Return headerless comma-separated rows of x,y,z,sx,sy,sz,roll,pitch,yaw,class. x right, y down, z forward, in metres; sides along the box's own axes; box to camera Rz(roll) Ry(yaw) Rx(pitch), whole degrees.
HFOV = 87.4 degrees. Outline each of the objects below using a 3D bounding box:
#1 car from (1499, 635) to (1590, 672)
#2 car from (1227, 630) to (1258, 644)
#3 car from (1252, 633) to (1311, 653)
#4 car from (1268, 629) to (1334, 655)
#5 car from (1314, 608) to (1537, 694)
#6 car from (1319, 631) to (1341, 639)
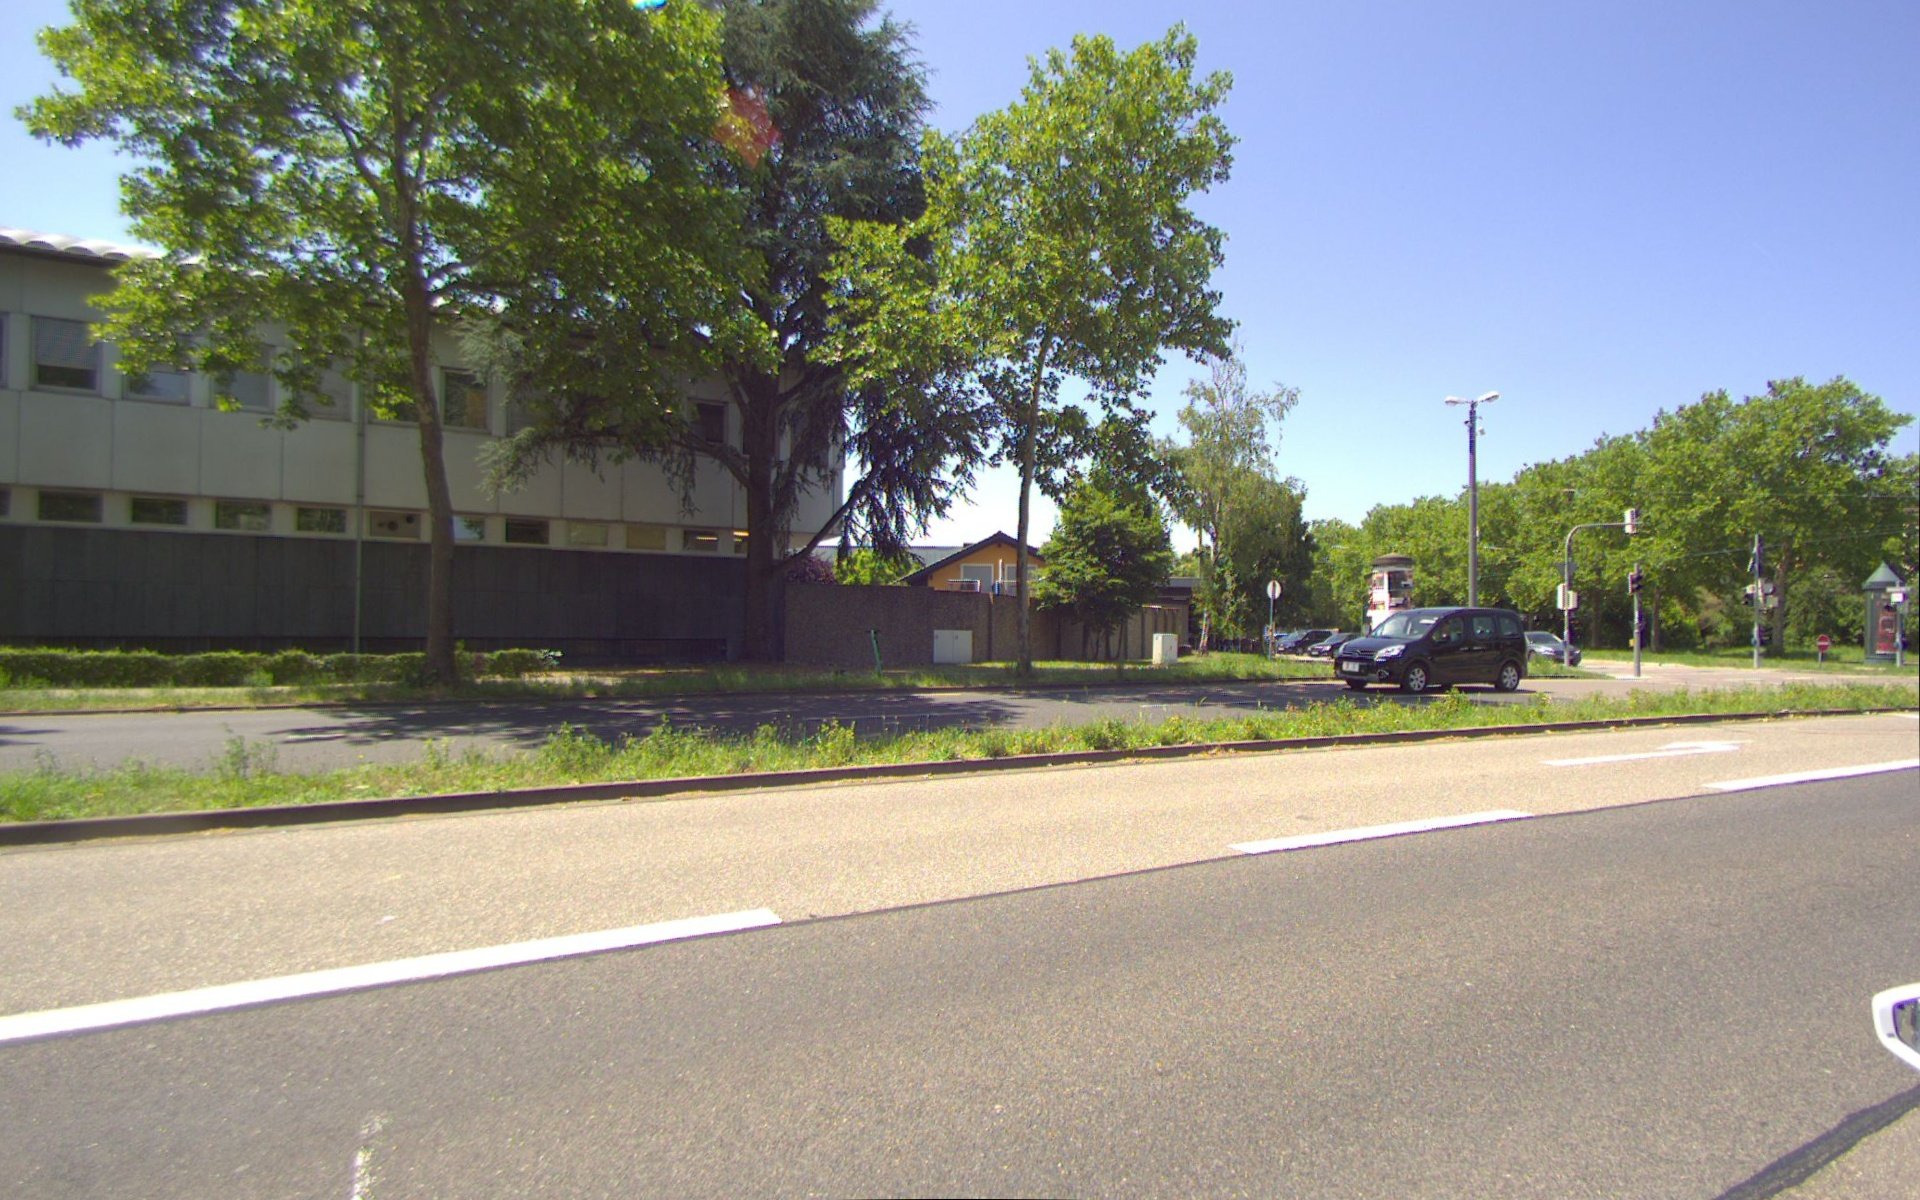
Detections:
25.257,2.290,43.547,1.729,1.476,3.994,0,-1,2,car
25.517,3.370,90.817,2.848,1.221,1.176,1,-1,-35,car
24.371,3.247,76.152,4.004,1.442,1.936,1,-2,-24,car
22.709,2.778,66.781,4.138,1.672,1.773,1,-2,-26,car
9.959,1.052,21.501,4.380,1.701,1.907,1,-1,-23,car
49.821,4.700,135.307,2.667,1.007,1.009,1,-1,-1,car
